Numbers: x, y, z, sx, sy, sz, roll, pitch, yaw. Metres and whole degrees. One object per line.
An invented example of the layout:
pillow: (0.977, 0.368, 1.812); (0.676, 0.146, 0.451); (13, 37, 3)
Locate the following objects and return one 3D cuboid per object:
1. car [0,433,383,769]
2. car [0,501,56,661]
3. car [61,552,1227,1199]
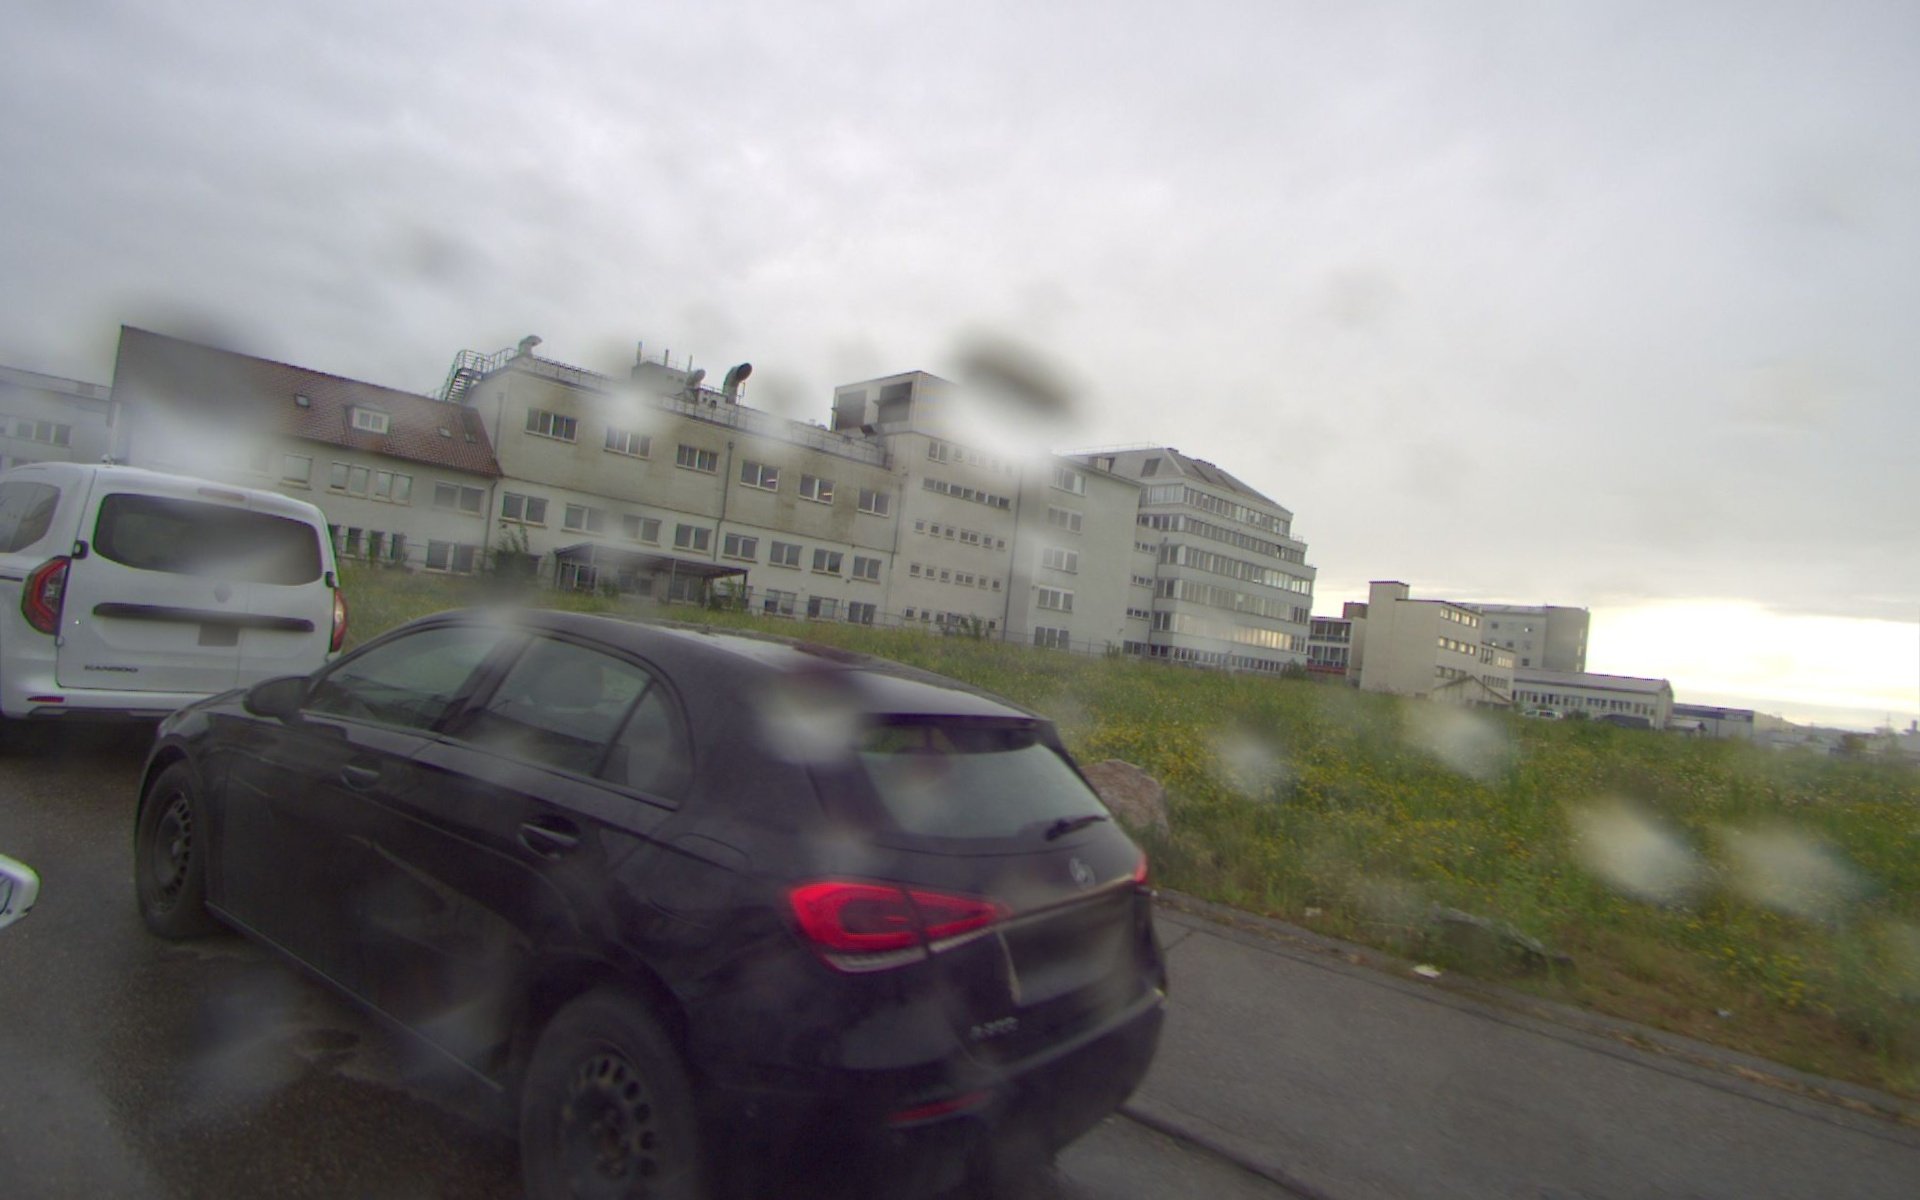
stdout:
car: (-6.413, -0.091, 7.507); (4.503, 1.846, 1.771); (6, -2, 36)
car: (-11.795, -0.447, 11.199); (4.574, 1.592, 1.644); (6, -3, 38)
car: (-1.454, 0.762, 3.696); (4.253, 1.350, 1.771); (6, -3, 36)
